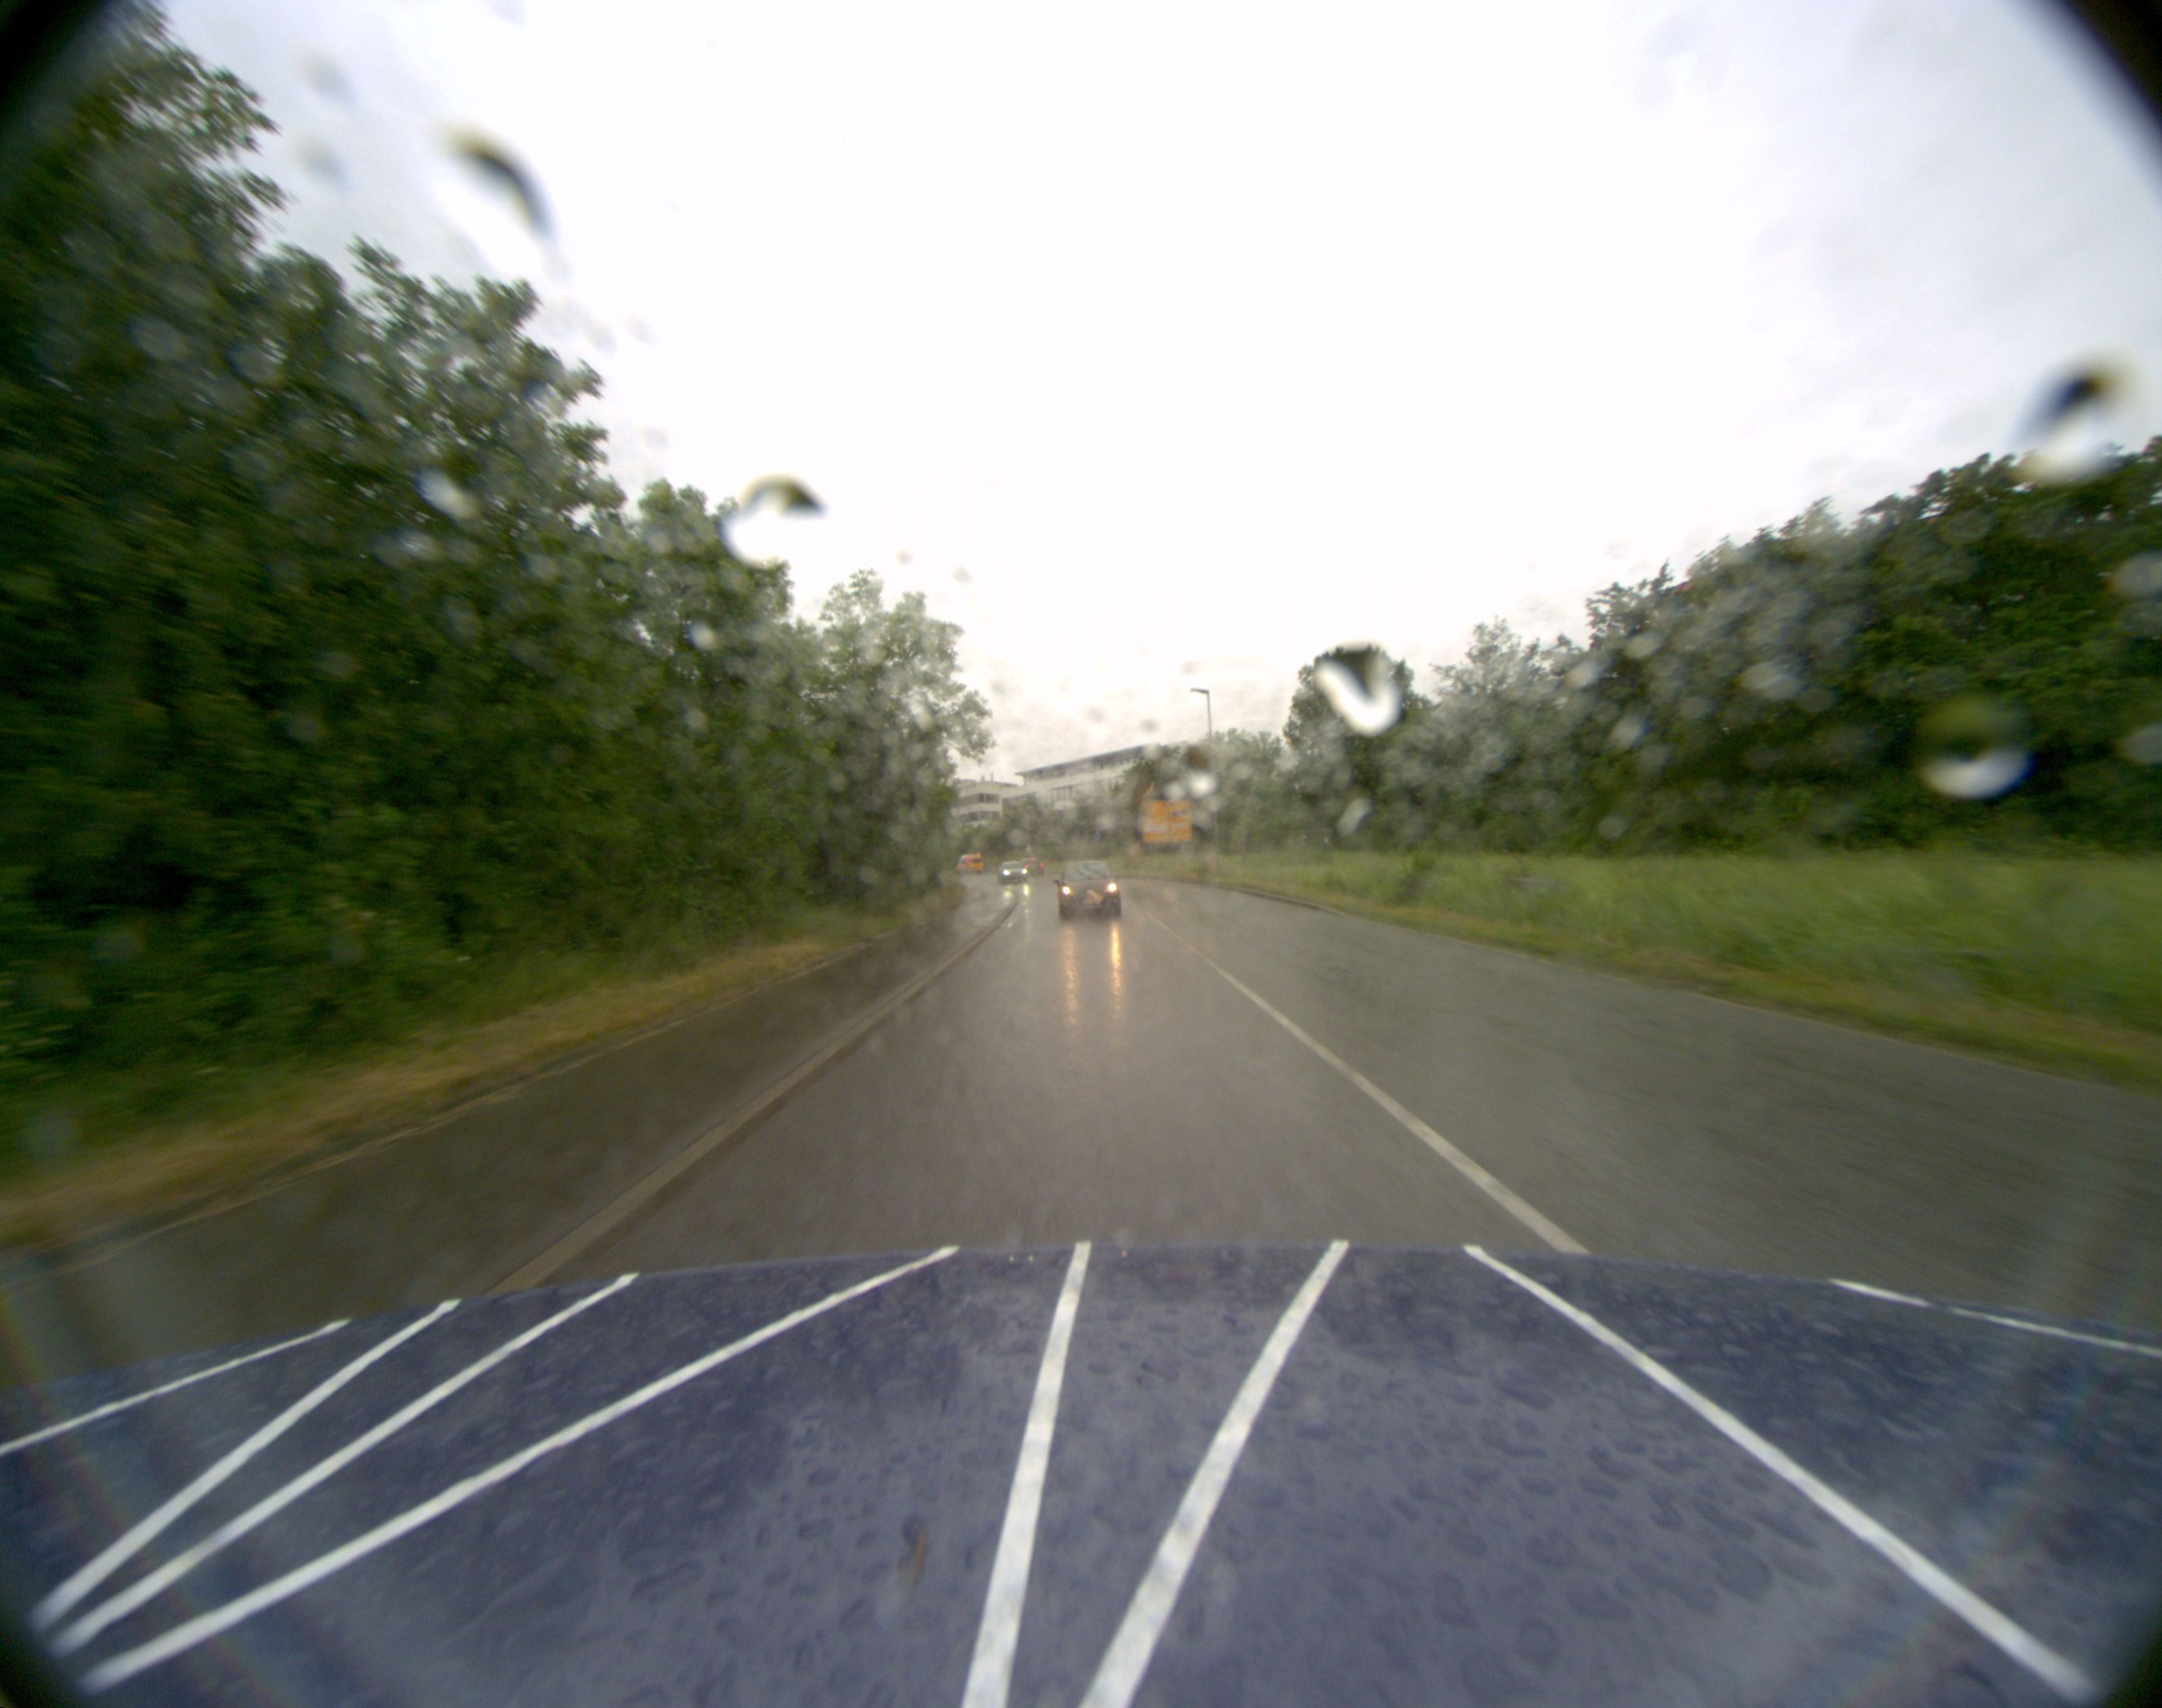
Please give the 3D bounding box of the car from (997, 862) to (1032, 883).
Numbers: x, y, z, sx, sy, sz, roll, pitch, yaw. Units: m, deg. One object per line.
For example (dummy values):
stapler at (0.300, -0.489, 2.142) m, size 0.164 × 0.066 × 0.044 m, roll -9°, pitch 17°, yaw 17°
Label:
car at (-4.886, 1.371, 55.678) m, size 1.876 × 1.432 × 4.373 m, roll -3°, pitch -1°, yaw -13°

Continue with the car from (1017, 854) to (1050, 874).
car at (-4.277, 0.918, 67.965) m, size 1.871 × 1.543 × 4.260 m, roll -5°, pitch 0°, yaw -16°

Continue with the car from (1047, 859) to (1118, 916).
car at (-0.013, 0.957, 23.417) m, size 1.874 × 1.432 × 4.377 m, roll -4°, pitch 0°, yaw -1°

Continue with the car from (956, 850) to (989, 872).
car at (-13.387, 0.852, 93.493) m, size 2.054 × 2.403 × 5.444 m, roll -4°, pitch 0°, yaw -29°
